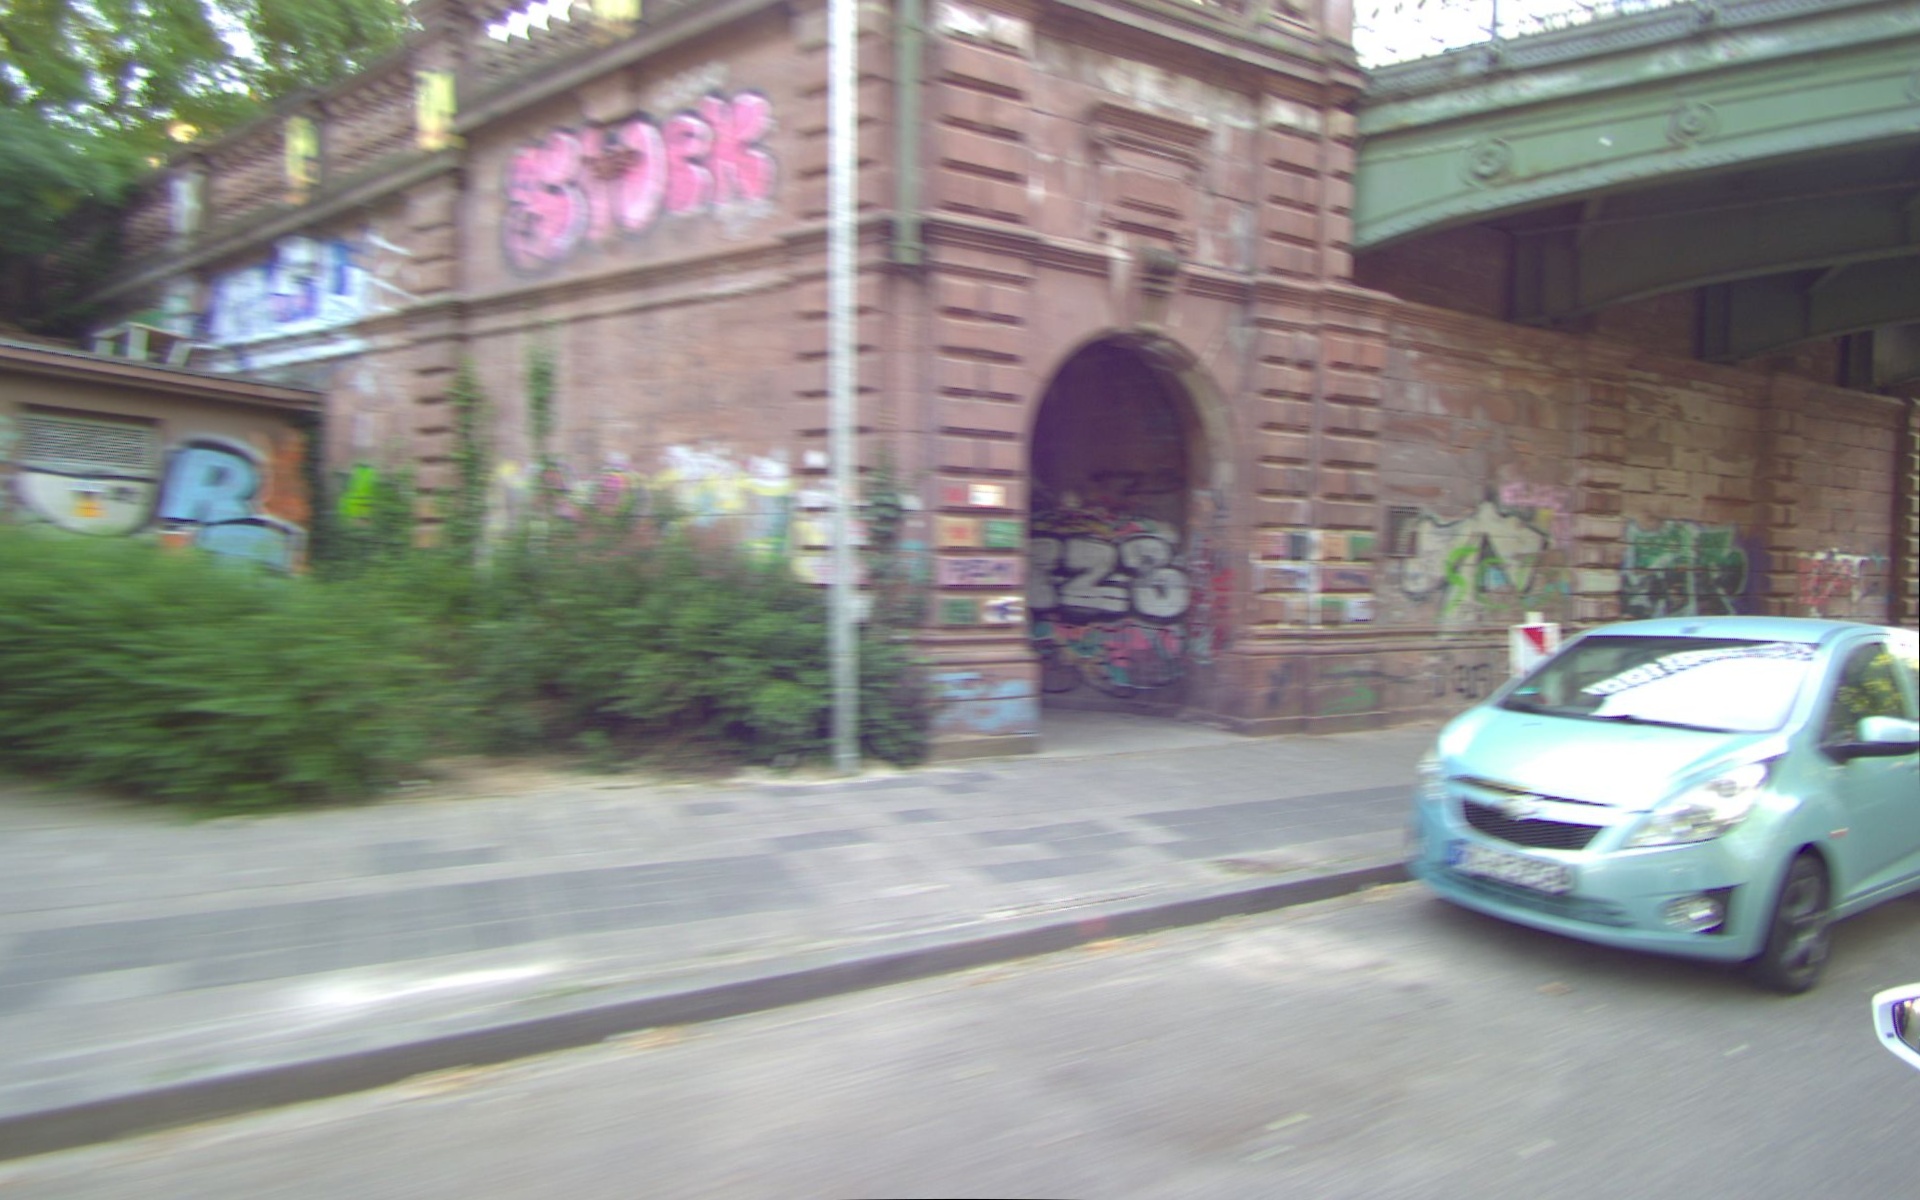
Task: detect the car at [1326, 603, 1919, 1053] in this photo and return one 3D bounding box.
[{"bbox_3d":[3.844,0.829,5.200,3.870,1.568,1.587,1,0,-31],"label":"car"}]
